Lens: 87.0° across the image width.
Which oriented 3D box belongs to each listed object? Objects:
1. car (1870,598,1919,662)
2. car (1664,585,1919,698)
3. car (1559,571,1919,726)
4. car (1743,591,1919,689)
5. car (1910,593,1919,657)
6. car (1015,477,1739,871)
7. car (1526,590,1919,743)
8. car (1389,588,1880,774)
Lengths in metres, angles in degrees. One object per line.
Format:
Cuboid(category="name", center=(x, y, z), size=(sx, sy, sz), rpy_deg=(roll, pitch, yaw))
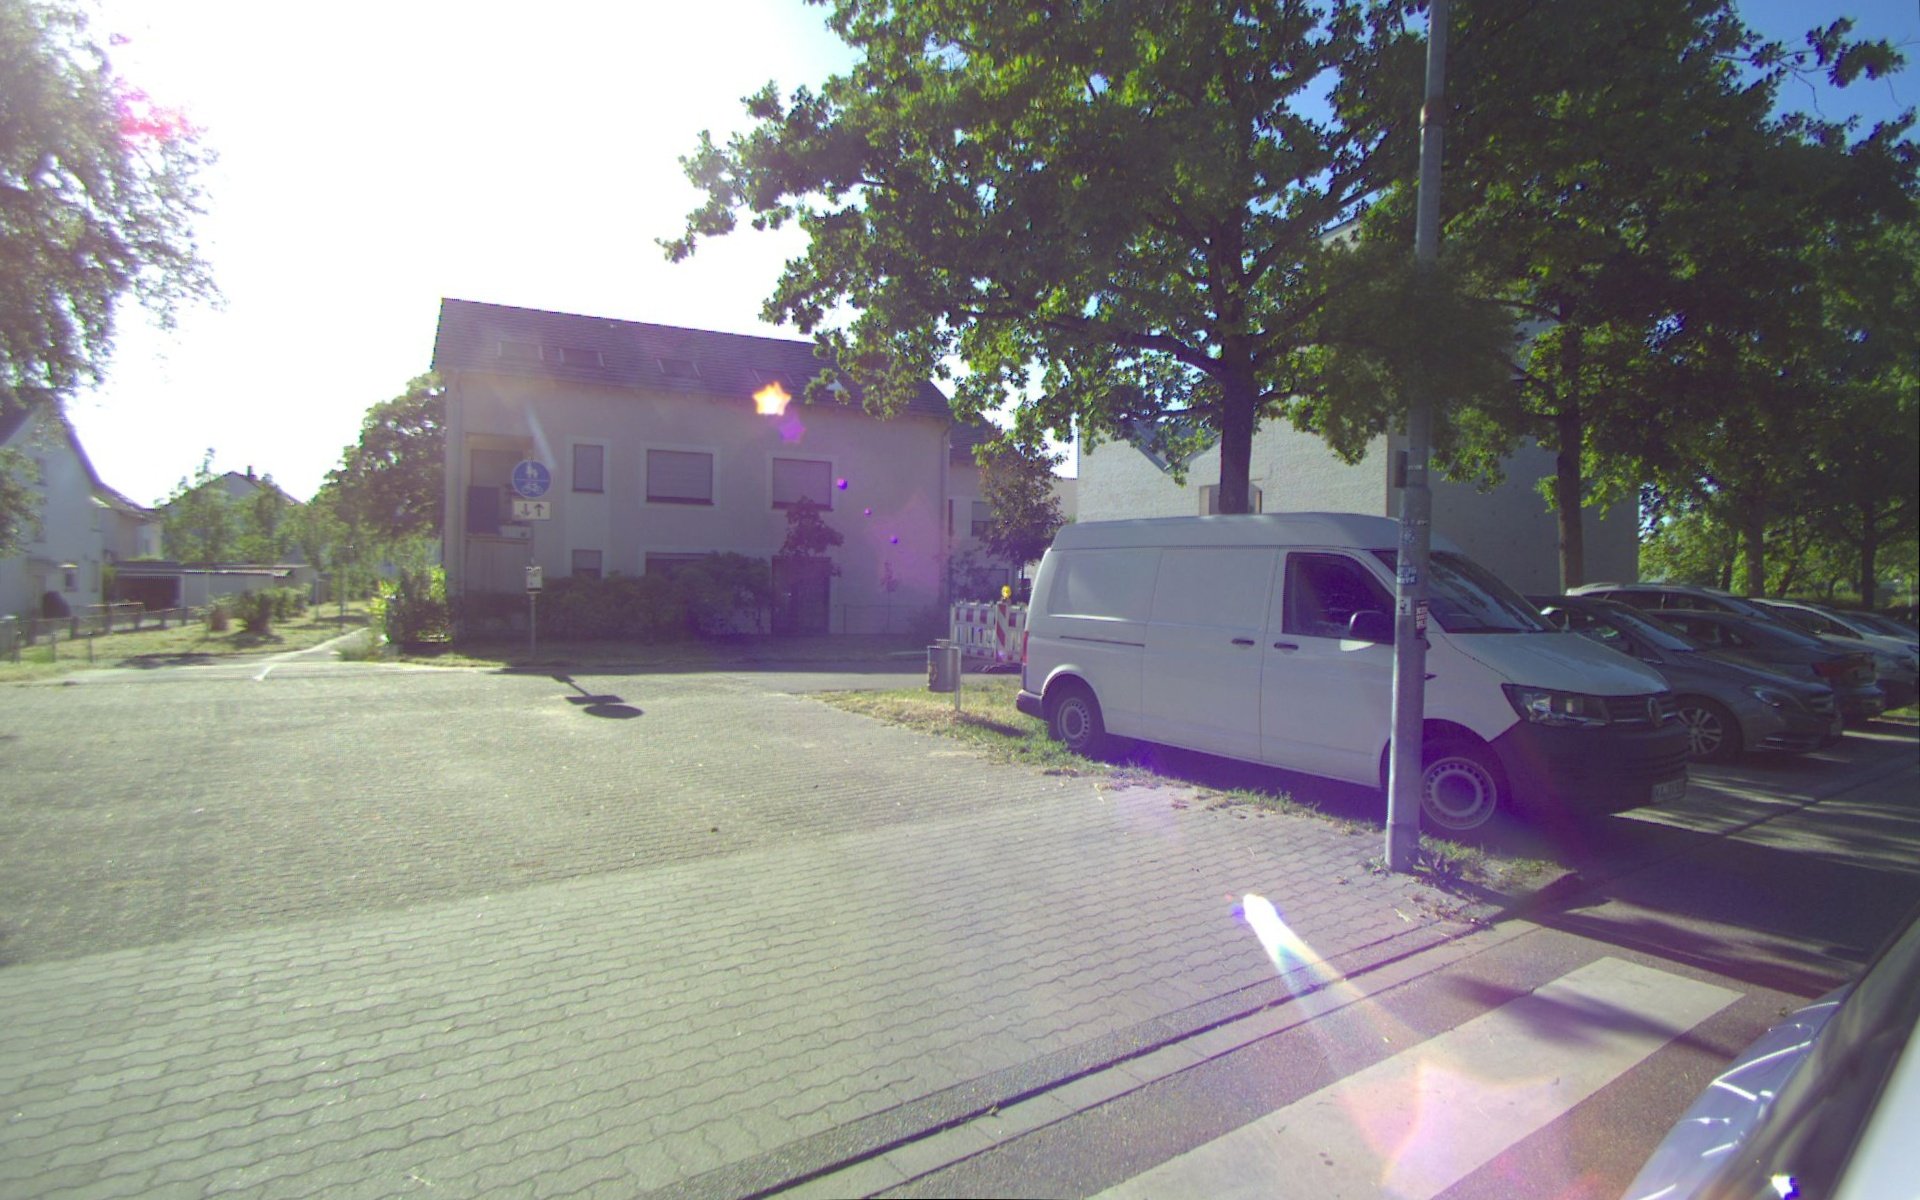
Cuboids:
Cuboid(category="car", center=(26.186, 0.792, 25.676), size=(1.503, 1.662, 4.400), rpy_deg=(1, 0, -34))
Cuboid(category="car", center=(14.303, 0.616, 16.809), size=(1.503, 1.700, 4.024), rpy_deg=(1, 0, -34))
Cuboid(category="car", center=(10.794, 0.555, 13.973), size=(1.680, 1.816, 4.024), rpy_deg=(1, 0, -34))
Cuboid(category="car", center=(16.854, 0.697, 18.296), size=(1.503, 1.681, 4.024), rpy_deg=(1, 0, -34))
Cuboid(category="car", center=(28.344, 0.709, 26.833), size=(1.503, 1.765, 4.400), rpy_deg=(1, 0, -34))
Cuboid(category="car", center=(2.762, 0.323, 8.009), size=(1.855, 2.107, 5.050), rpy_deg=(1, 1, -36))
Cuboid(category="car", center=(8.984, 0.666, 12.195), size=(1.420, 1.561, 3.520), rpy_deg=(1, 0, -34))
Cuboid(category="car", center=(6.879, 0.673, 10.745), size=(1.723, 1.583, 4.001), rpy_deg=(1, 0, -34))
